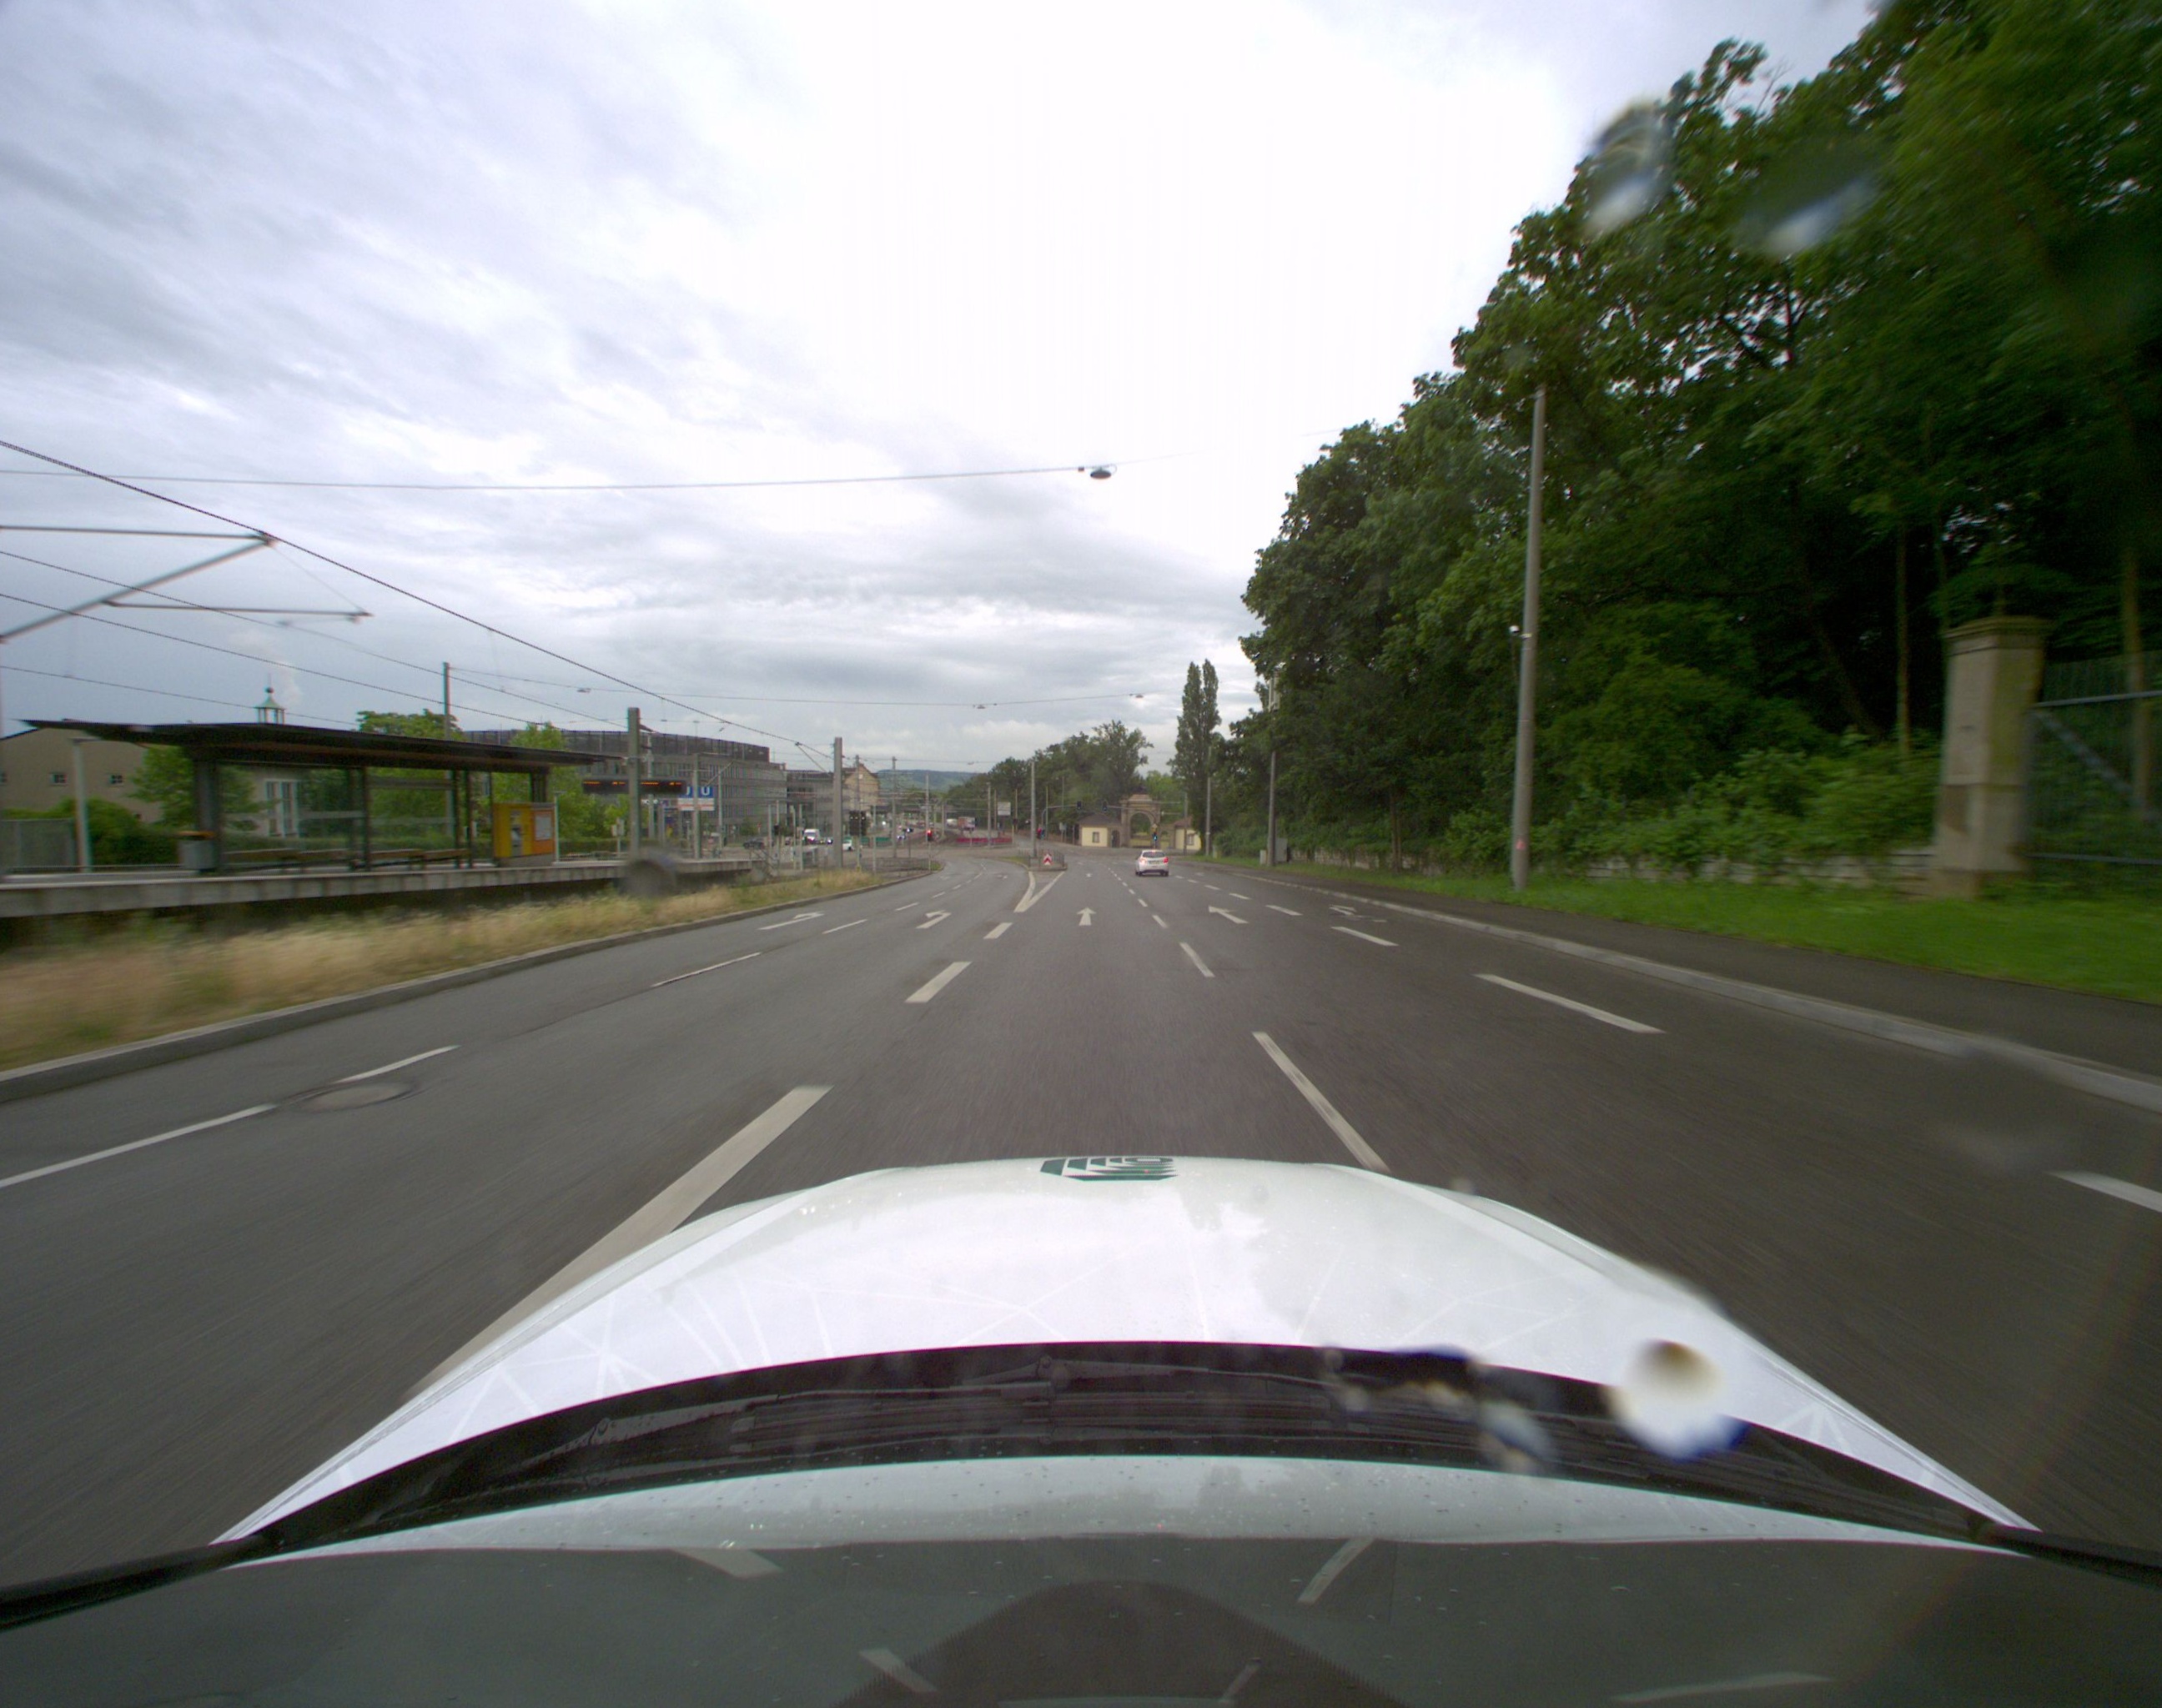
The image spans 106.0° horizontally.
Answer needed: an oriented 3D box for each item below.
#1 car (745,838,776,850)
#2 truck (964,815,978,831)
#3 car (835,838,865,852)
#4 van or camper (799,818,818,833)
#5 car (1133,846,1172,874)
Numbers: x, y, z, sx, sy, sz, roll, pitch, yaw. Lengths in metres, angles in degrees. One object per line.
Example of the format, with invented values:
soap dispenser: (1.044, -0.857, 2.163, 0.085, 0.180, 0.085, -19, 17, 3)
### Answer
car: (-45.675, -1.421, 116.046, 3.950, 1.706, 2.012, 0, 1, 26)
truck: (-33.922, -9.628, 251.047, 3.416, 4.570, 11.243, 3, 1, -12)
car: (-30.743, -1.201, 108.421, 3.950, 1.605, 1.840, 4, 3, 37)
van or camper: (-44.541, -4.620, 133.256, 1.991, 2.344, 3.991, -2, 1, -6)
car: (4.040, 0.329, 46.552, 1.862, 1.511, 3.899, -1, 0, 0)
